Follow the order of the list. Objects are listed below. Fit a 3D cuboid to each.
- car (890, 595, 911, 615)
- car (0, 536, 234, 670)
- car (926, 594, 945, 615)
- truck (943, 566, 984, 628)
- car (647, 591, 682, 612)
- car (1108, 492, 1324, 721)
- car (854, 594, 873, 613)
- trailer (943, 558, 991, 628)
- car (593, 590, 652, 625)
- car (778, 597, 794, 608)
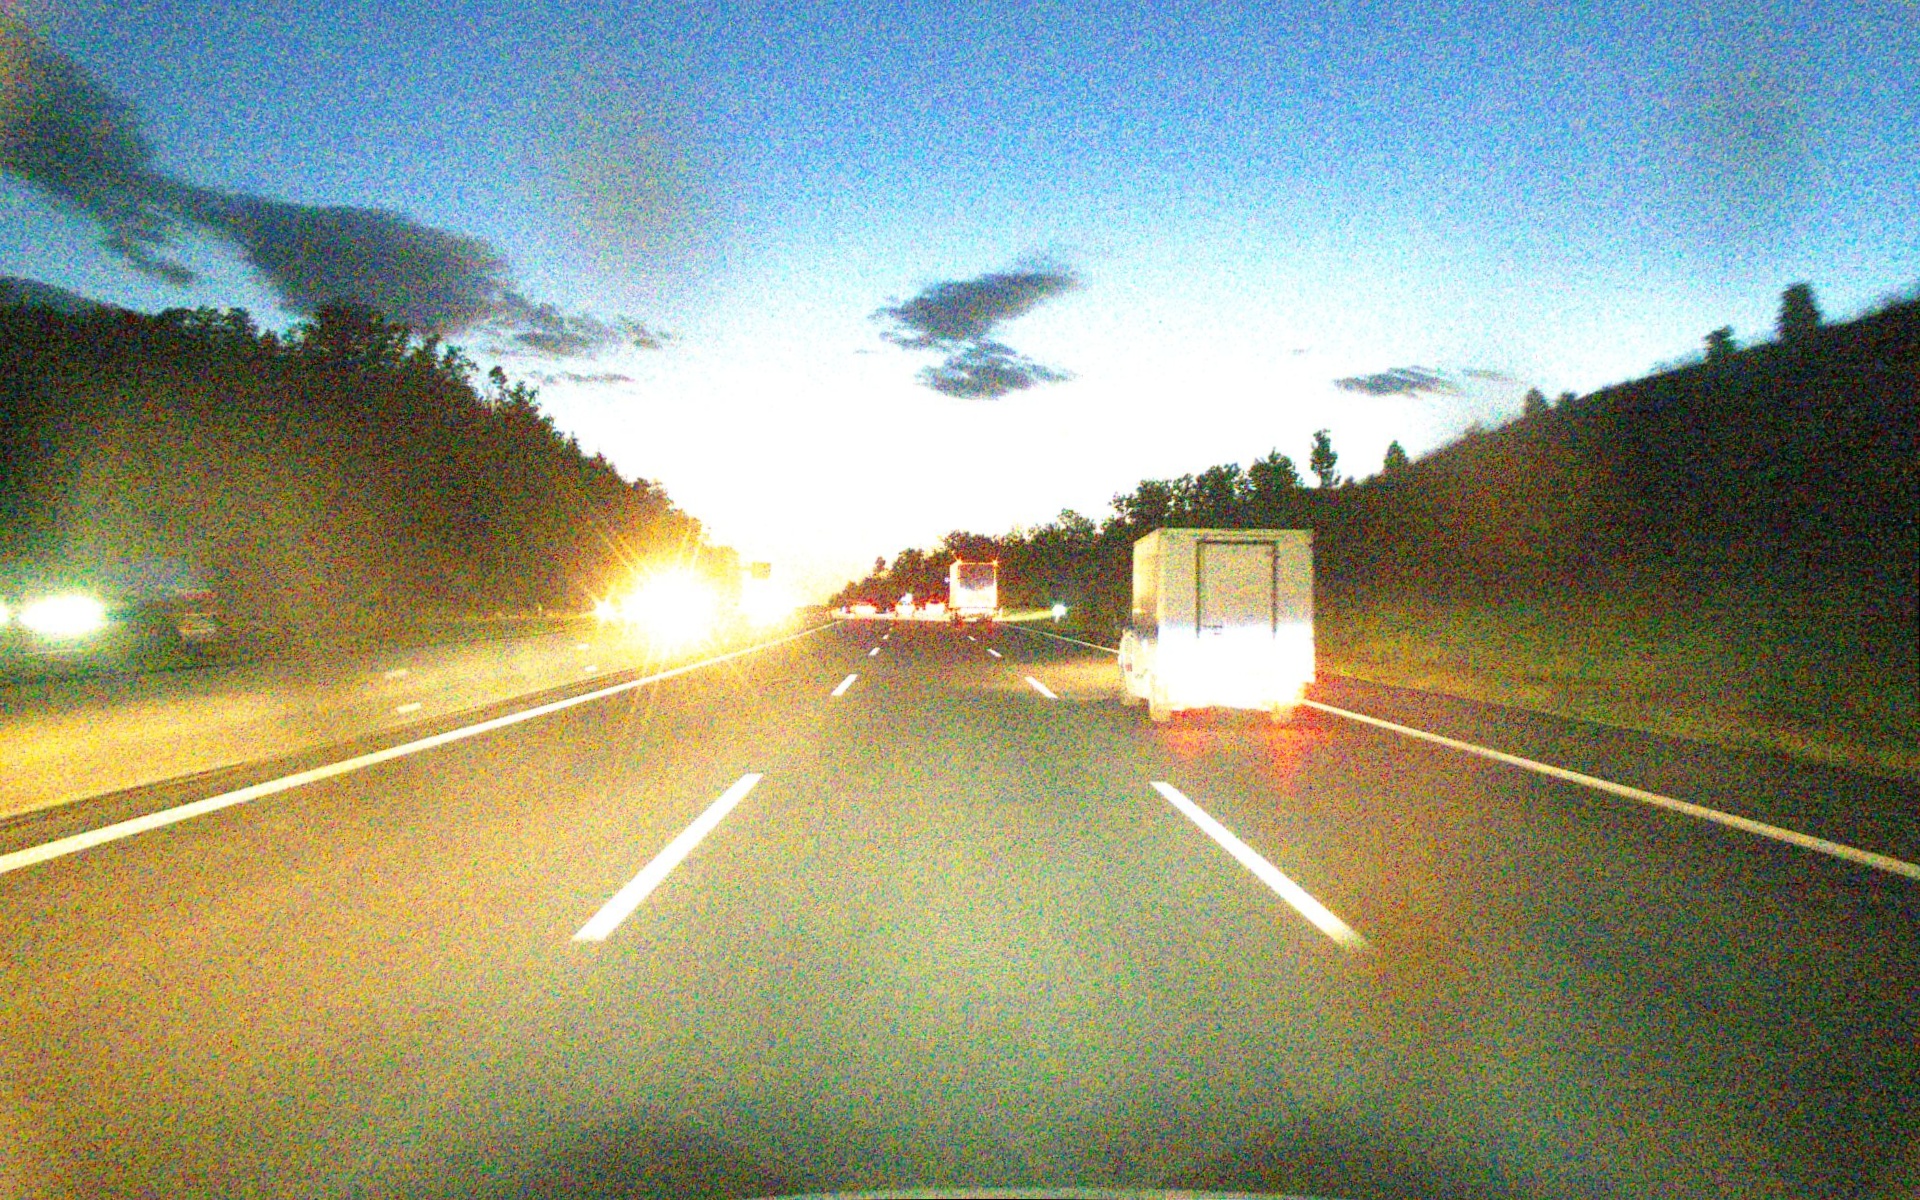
[{"bbox_3d":[-5.687,0.509,157.543,1.953,1.825,3.998,1,-2,-2],"label":"car"},{"bbox_3d":[-15.249,0.037,29.416,2.198,2.138,5.714,0,0,-1],"label":"car"},{"bbox_3d":[-2.650,0.460,179.024,1.953,2.154,3.998,1,-2,-1],"label":"car"},{"bbox_3d":[0.221,-0.181,121.421,2.772,4.331,6.259,1,-2,-2],"label":"truck"},{"bbox_3d":[-23.975,0.112,134.416,2.199,1.697,4.885,1,0,-3],"label":"car"},{"bbox_3d":[3.289,0.080,22.446,1.991,2.693,5.724,0,0,-1],"label":"car"},{"bbox_3d":[-10.016,0.387,171.496,1.954,1.825,3.996,1,-2,-4],"label":"car"},{"bbox_3d":[0.385,-0.326,116.029,2.772,4.331,17.040,1,-2,-2],"label":"trailer"},{"bbox_3d":[-17.158,0.380,84.391,2.199,1.697,4.887,1,0,-3],"label":"car"},{"bbox_3d":[-26.876,0.379,255.404,2.200,1.625,4.883,1,0,-4],"label":"car"}]
